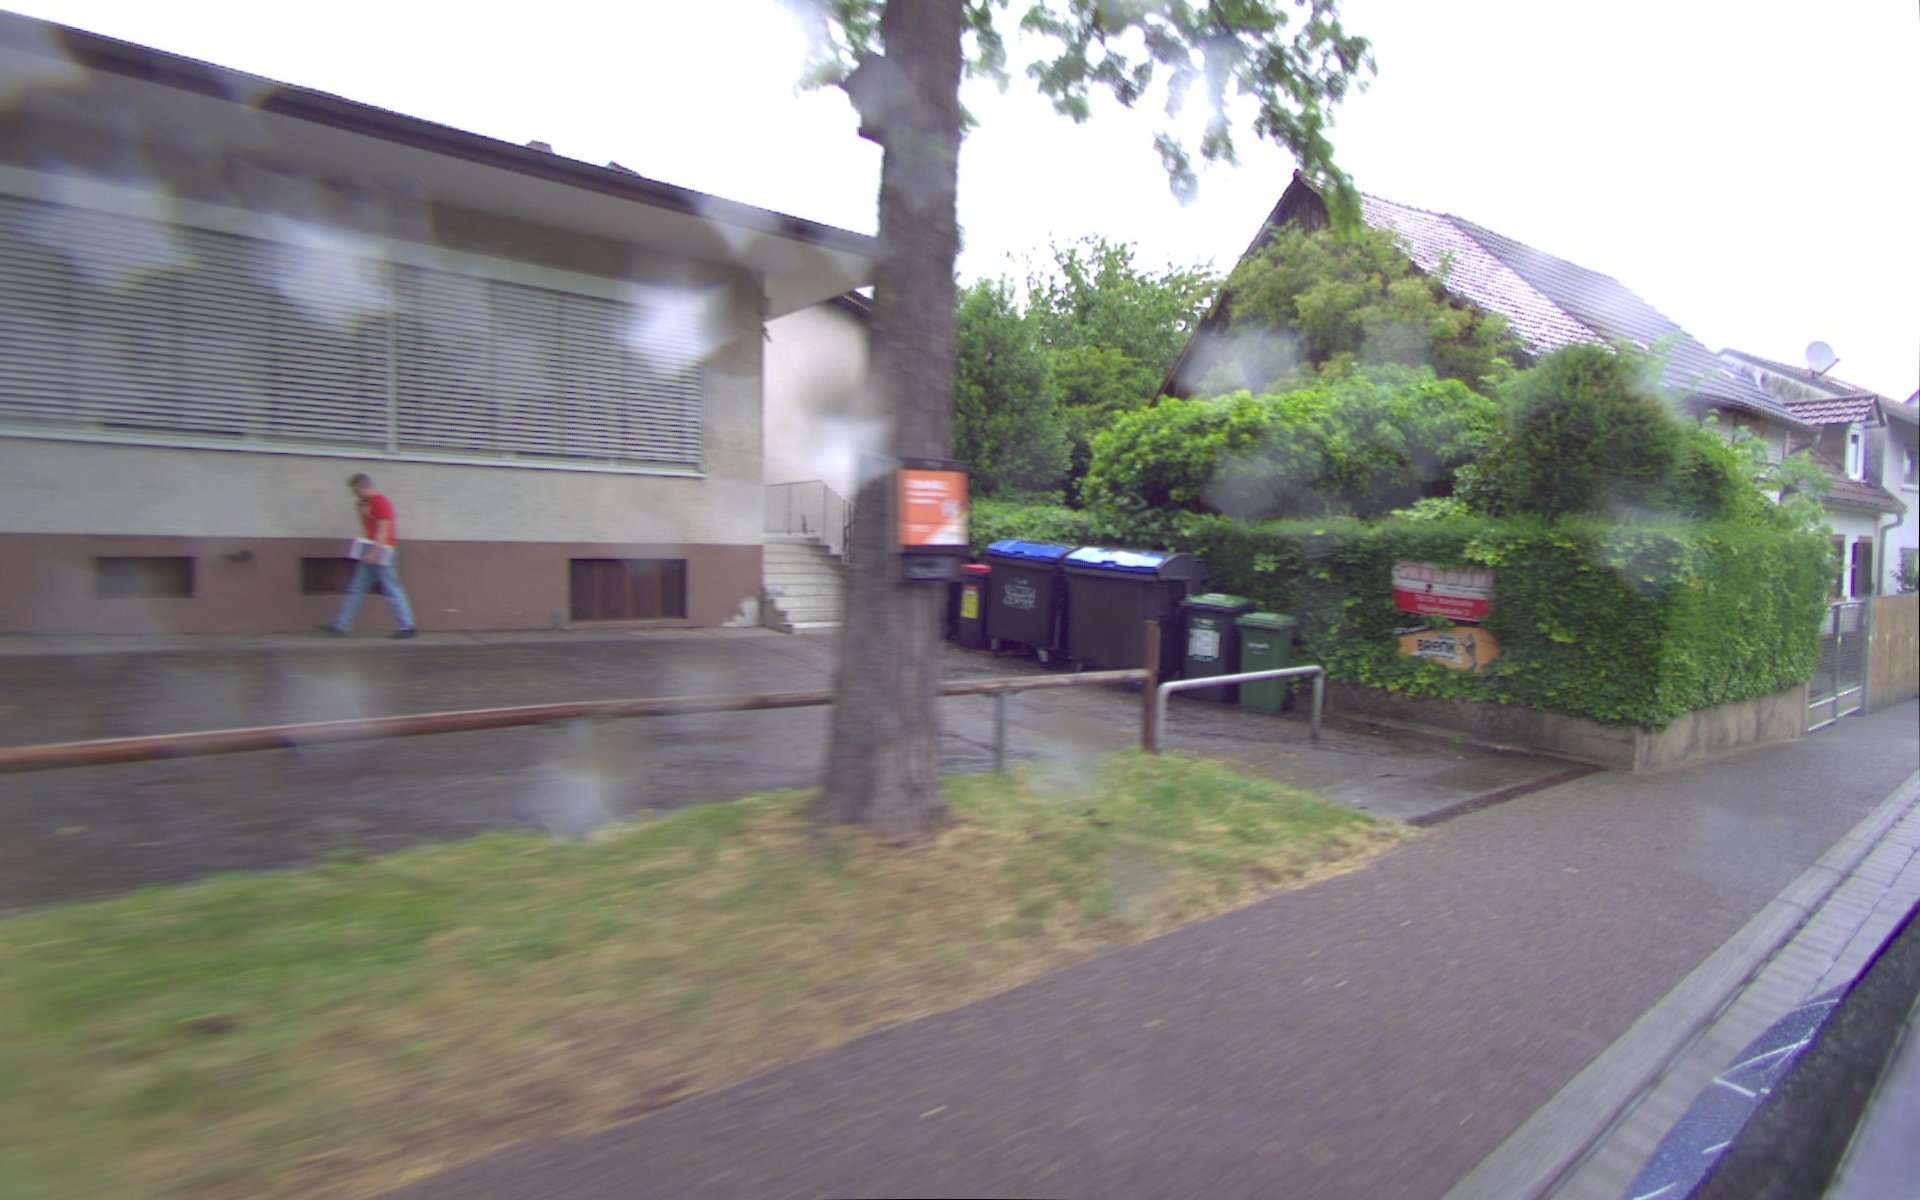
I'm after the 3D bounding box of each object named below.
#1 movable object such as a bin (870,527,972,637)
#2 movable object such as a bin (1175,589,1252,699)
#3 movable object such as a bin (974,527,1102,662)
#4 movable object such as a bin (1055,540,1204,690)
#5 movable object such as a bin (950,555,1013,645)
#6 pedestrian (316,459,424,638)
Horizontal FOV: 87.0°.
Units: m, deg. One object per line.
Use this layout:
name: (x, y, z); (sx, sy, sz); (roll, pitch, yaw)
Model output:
movable object such as a bin: (-0.542, -0.262, 13.753); (0.782, 1.358, 1.151); (0, 6, -41)
movable object such as a bin: (2.567, 0.427, 10.252); (0.455, 1.035, 0.538); (0, 5, -42)
movable object such as a bin: (0.914, -0.094, 12.078); (0.782, 1.452, 1.238); (0, 6, -42)
movable object such as a bin: (1.797, 0.118, 10.869); (0.782, 1.435, 1.296); (0, 6, -42)
movable object such as a bin: (0.273, -0.011, 12.950); (0.521, 1.092, 0.568); (0, 5, -42)
pedestrian: (-6.131, -0.520, 10.524); (0.851, 1.776, 0.536); (1, 2, -41)
